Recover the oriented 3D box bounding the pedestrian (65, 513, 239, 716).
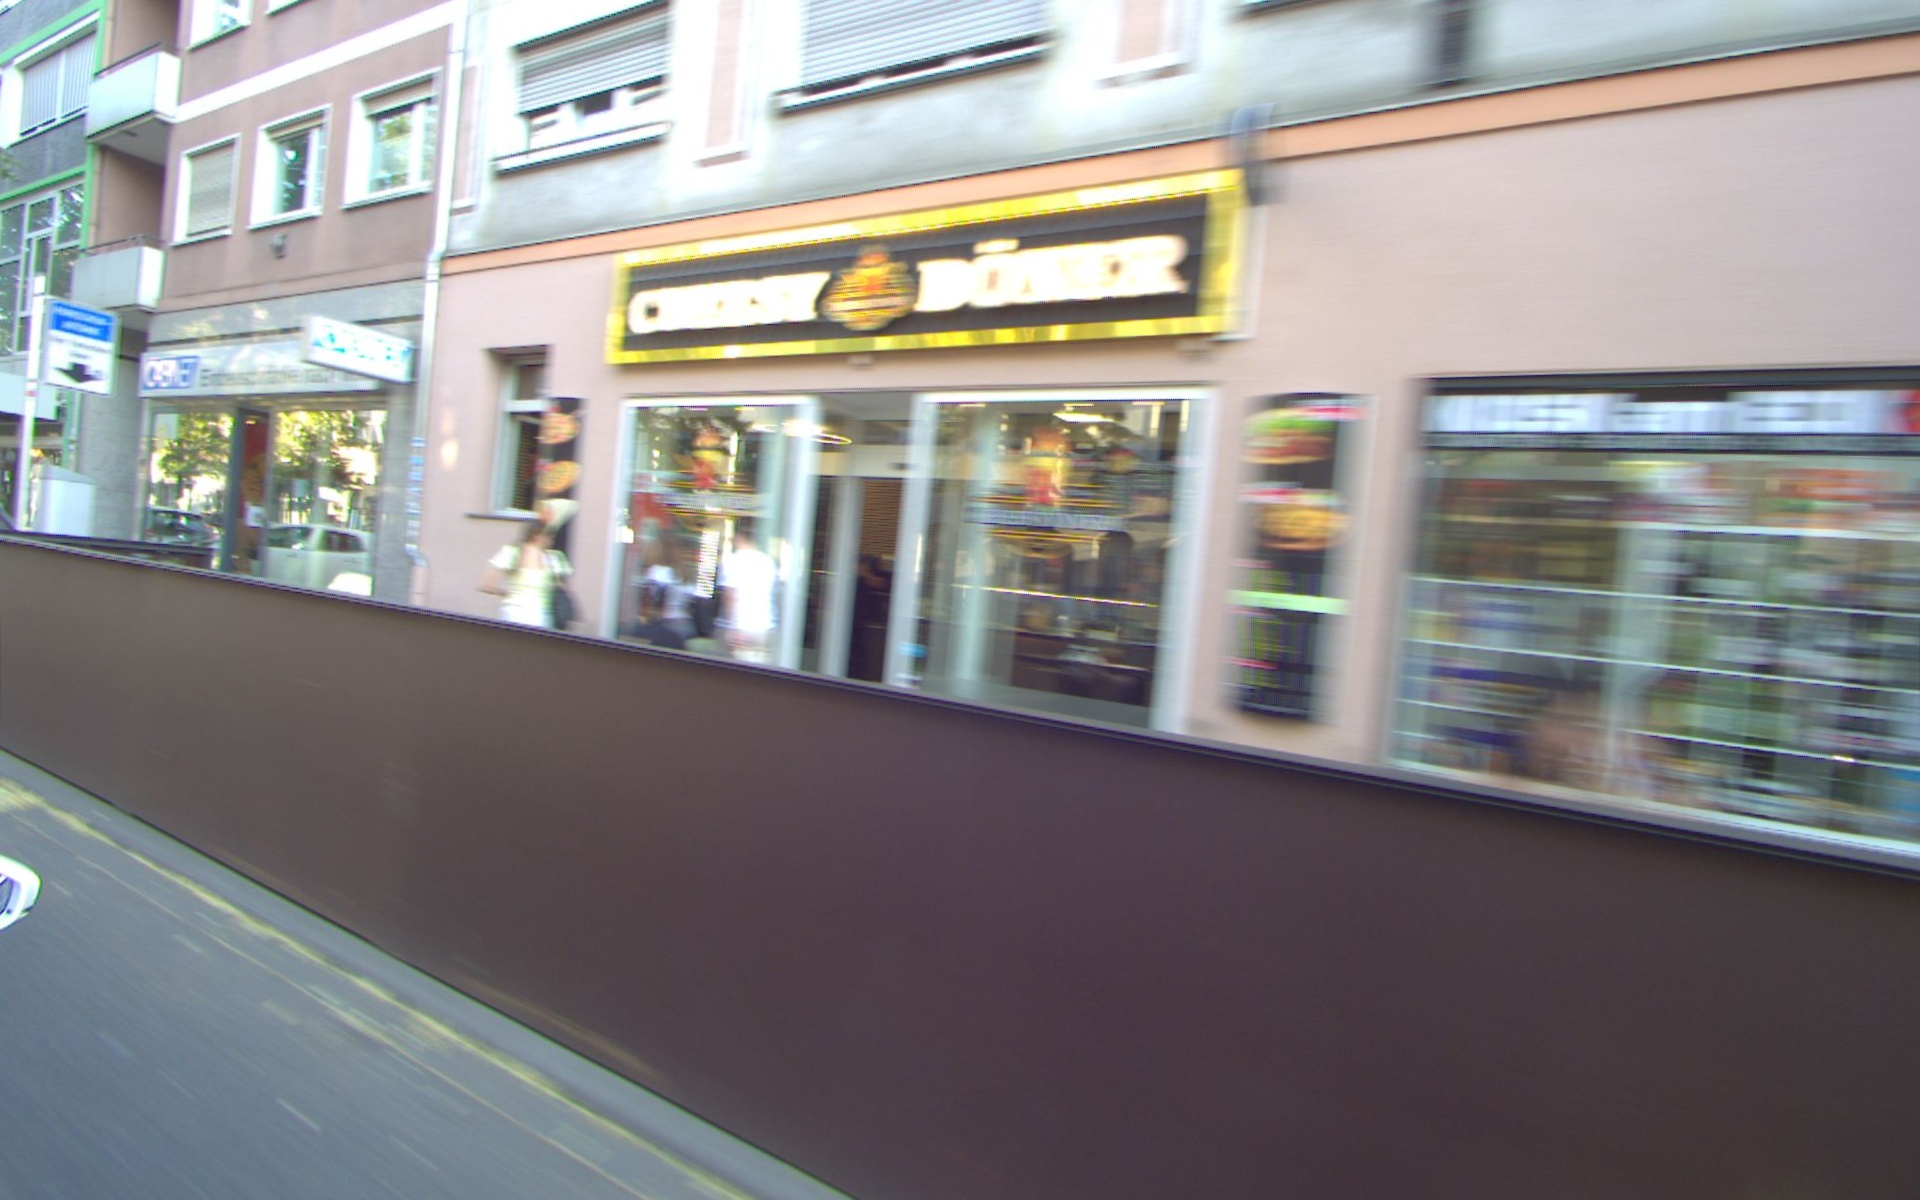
[{"bbox_3d":[-6.080,0.111,7.581,0.768,1.396,0.727,7,1,32],"label":"pedestrian"}]

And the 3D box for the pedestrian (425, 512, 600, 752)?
[{"bbox_3d":[-3.359,0.227,7.546,0.900,1.646,0.794,7,1,44],"label":"pedestrian"}]

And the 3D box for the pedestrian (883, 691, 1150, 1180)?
[{"bbox_3d":[0.185,0.964,3.141,0.521,1.286,0.508,7,1,32],"label":"pedestrian"}]

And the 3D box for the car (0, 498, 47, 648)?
[{"bbox_3d":[-11.138,-0.461,10.447,3.619,1.450,1.544,6,0,34],"label":"car"}]

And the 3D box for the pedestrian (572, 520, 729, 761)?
[{"bbox_3d":[-2.372,0.290,7.691,0.879,1.701,0.630,7,1,40],"label":"pedestrian"}]

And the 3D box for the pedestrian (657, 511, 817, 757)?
[{"bbox_3d":[-1.791,0.255,8.072,0.879,1.828,0.697,7,1,40],"label":"pedestrian"}]

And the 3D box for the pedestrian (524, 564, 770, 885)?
[{"bbox_3d":[-1.556,0.576,5.035,0.768,1.396,0.727,7,1,32],"label":"pedestrian"}]

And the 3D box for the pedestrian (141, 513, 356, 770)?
[{"bbox_3d":[-4.305,0.237,6.101,0.768,1.396,0.727,7,1,32],"label":"pedestrian"}]
